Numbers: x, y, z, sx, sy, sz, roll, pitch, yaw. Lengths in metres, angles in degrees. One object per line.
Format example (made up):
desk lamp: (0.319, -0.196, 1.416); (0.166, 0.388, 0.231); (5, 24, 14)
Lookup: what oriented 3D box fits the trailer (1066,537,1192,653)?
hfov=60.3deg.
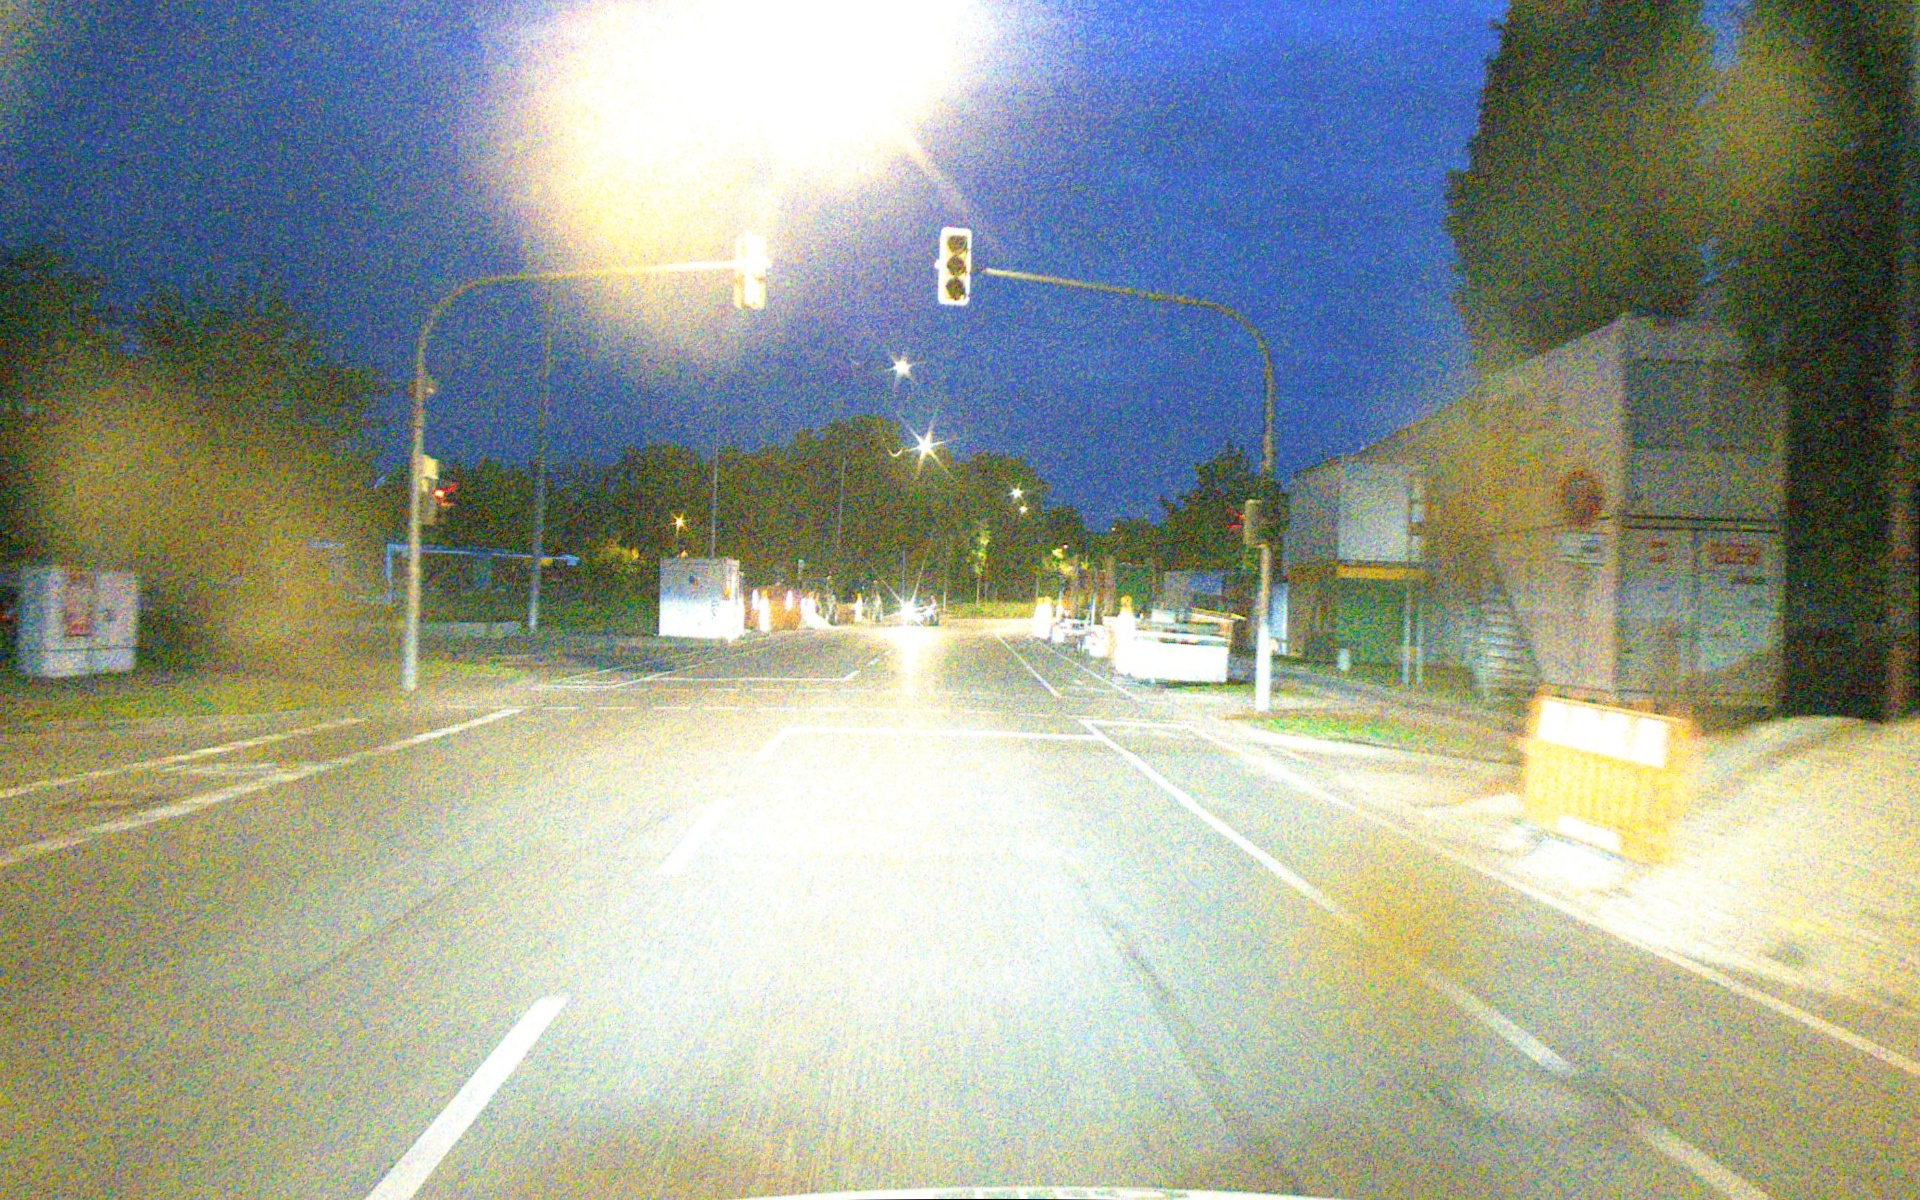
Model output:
trailer: (4.548, -0.111, 45.421); (2.562, 2.895, 4.705); (3, -1, -4)

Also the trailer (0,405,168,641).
trailer: (-18.687, -1.416, 24.923); (2.994, 4.001, 15.013); (3, 0, 15)

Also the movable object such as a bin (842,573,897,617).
movable object such as a bin: (-5.183, -0.273, 95.185); (1.951, 2.418, 4.706); (1, 0, 12)

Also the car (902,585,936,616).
car: (-2.114, 0.017, 85.870); (1.662, 1.604, 2.957); (0, 0, 0)

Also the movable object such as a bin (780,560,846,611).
movable object such as a bin: (-7.321, -0.703, 82.890); (1.951, 2.418, 4.706); (1, 0, 12)

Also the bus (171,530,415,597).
bus: (-33.017, -1.723, 82.769); (2.888, 3.034, 12.255); (2, 1, 29)

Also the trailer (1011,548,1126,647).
trailer: (3.860, -0.064, 59.975); (3.413, 3.275, 4.861); (3, -1, -4)

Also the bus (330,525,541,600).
bus: (-24.766, -1.669, 79.220); (2.949, 3.260, 12.680); (2, 1, 17)
